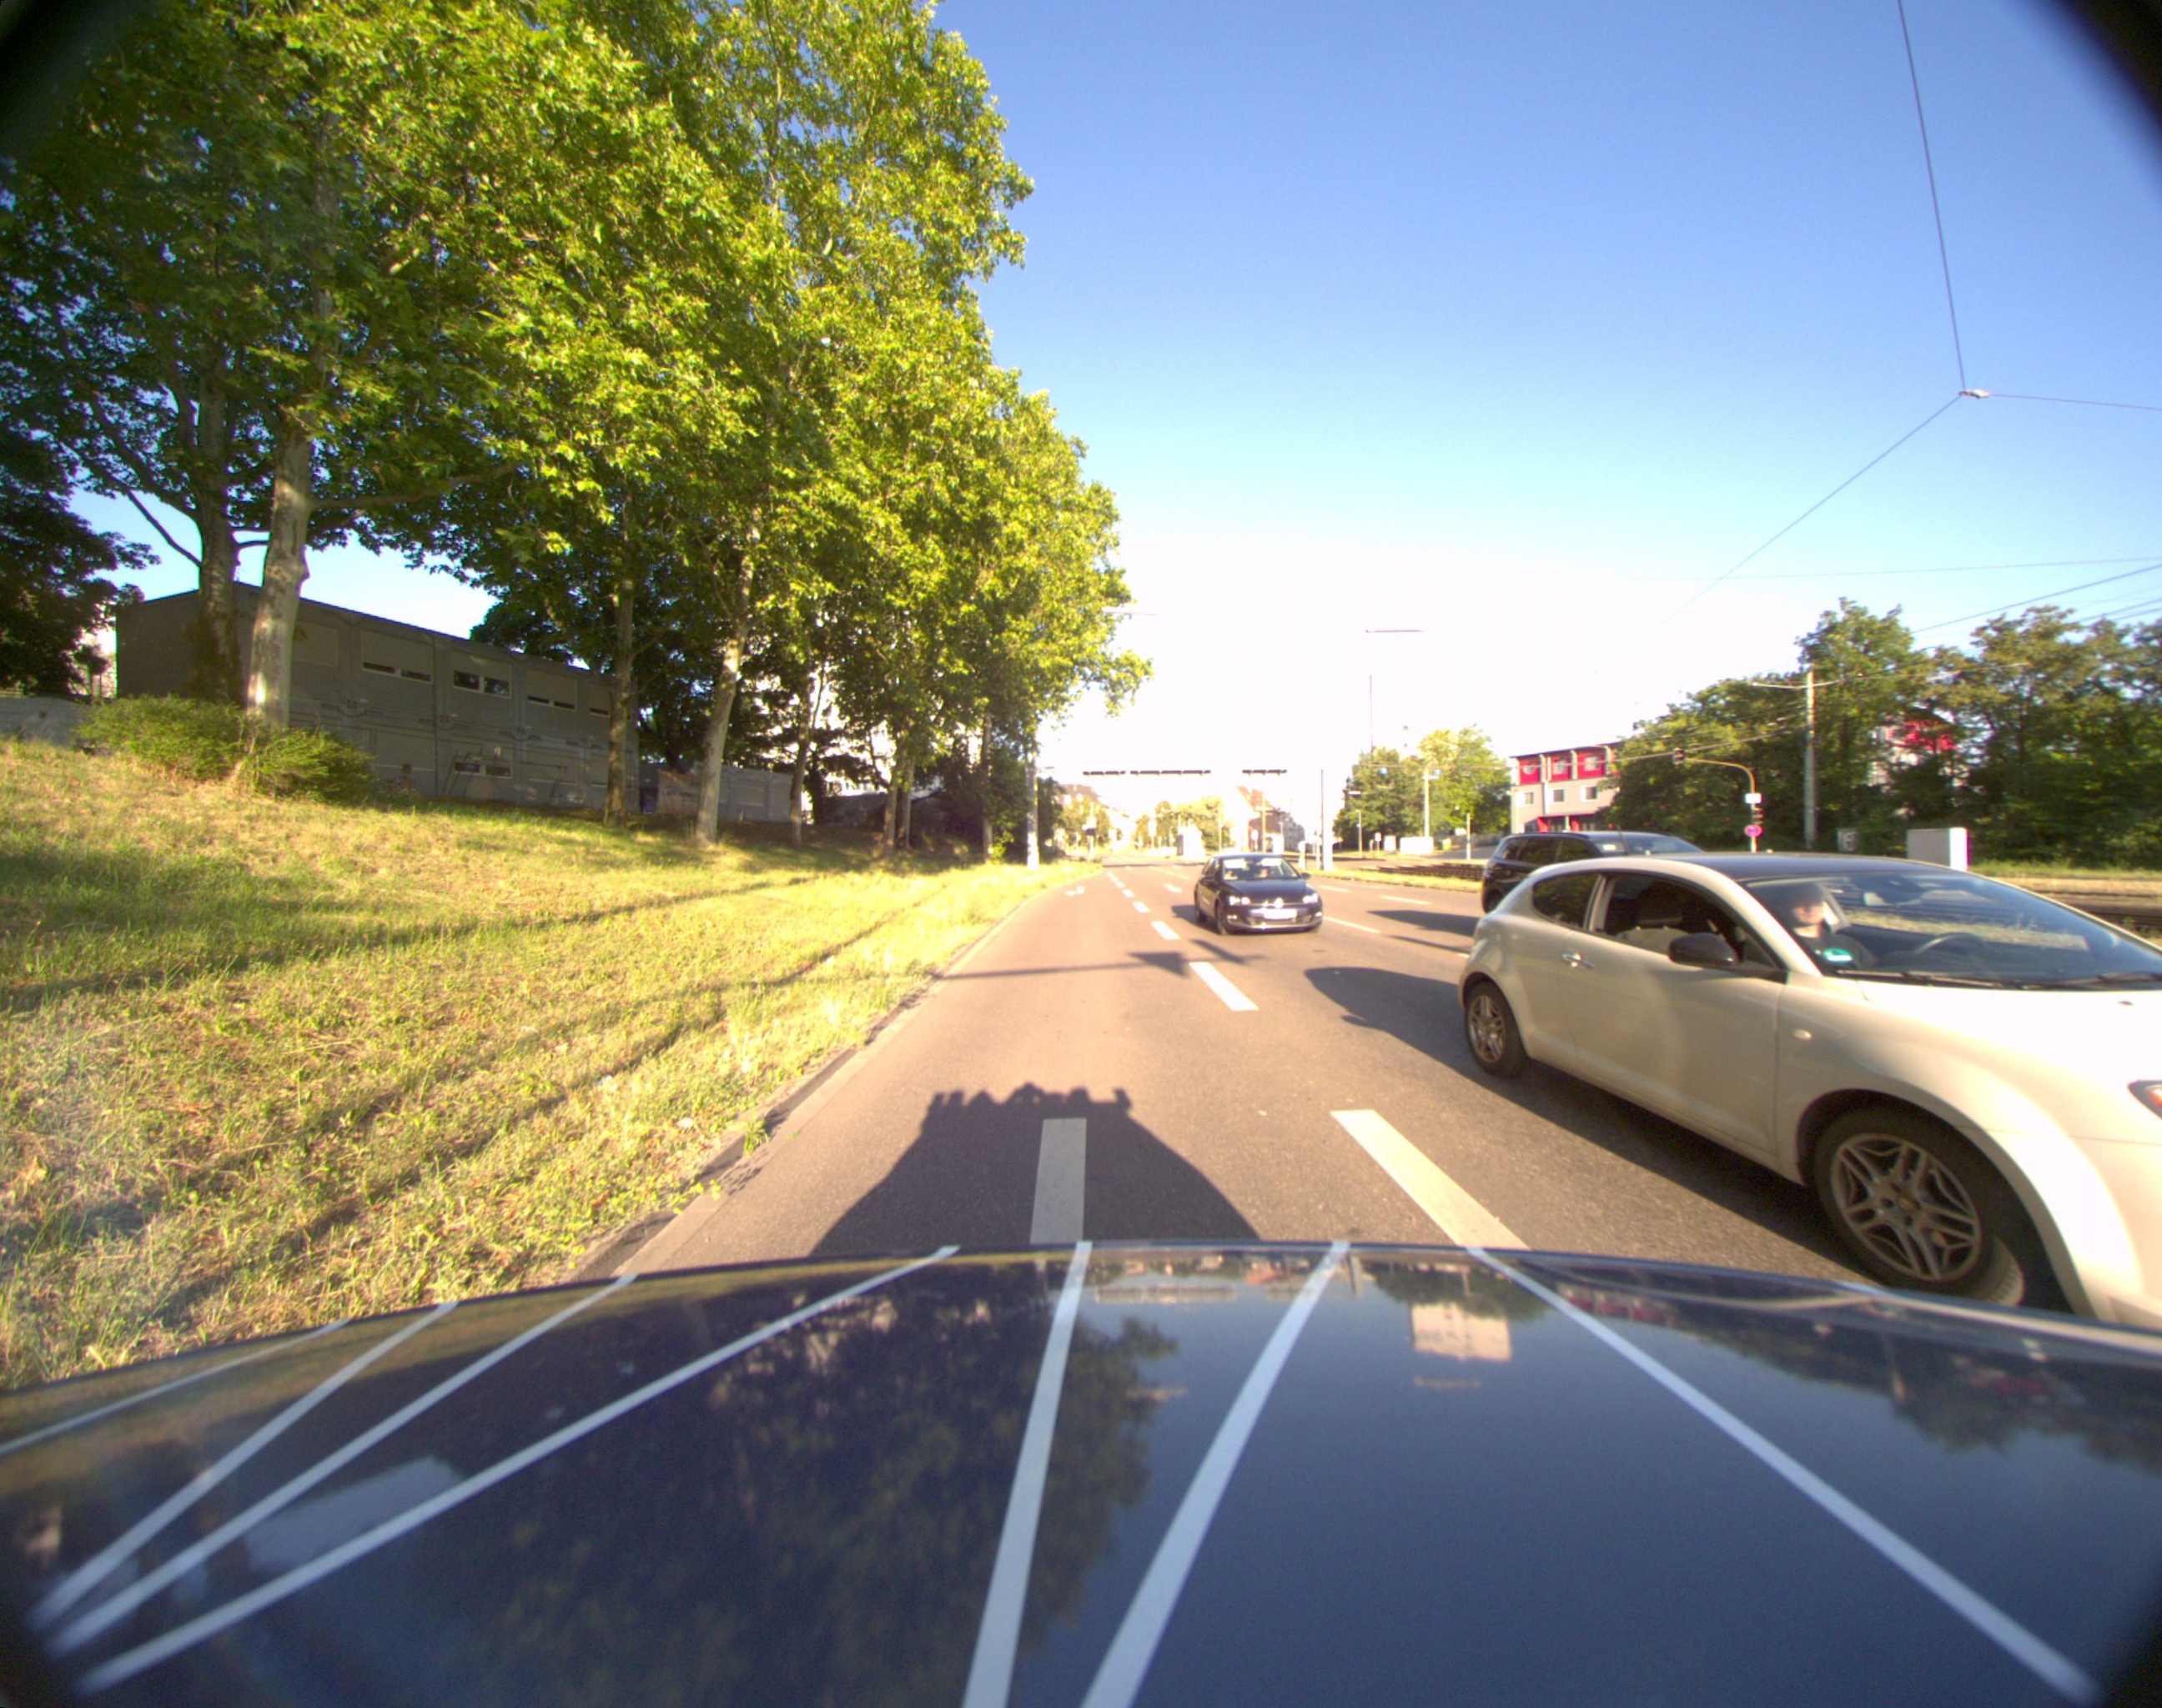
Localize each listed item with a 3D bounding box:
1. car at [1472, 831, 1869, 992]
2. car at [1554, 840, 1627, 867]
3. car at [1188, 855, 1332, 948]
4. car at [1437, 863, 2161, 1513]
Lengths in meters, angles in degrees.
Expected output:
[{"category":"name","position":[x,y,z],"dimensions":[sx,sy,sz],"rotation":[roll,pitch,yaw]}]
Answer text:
[{"category":"car","position":[7.251,0.600,10.055],"dimensions":[1.905,1.652,4.276],"rotation":[-1,0,-1]},{"category":"car","position":[33.462,-0.048,50.074],"dimensions":[1.752,1.669,4.756],"rotation":[-2,0,2]},{"category":"car","position":[3.211,0.782,14.435],"dimensions":[1.741,1.429,3.999],"rotation":[-2,1,-1]},{"category":"car","position":[3.447,0.824,3.461],"dimensions":[1.741,1.496,3.999],"rotation":[-1,0,-1]}]
